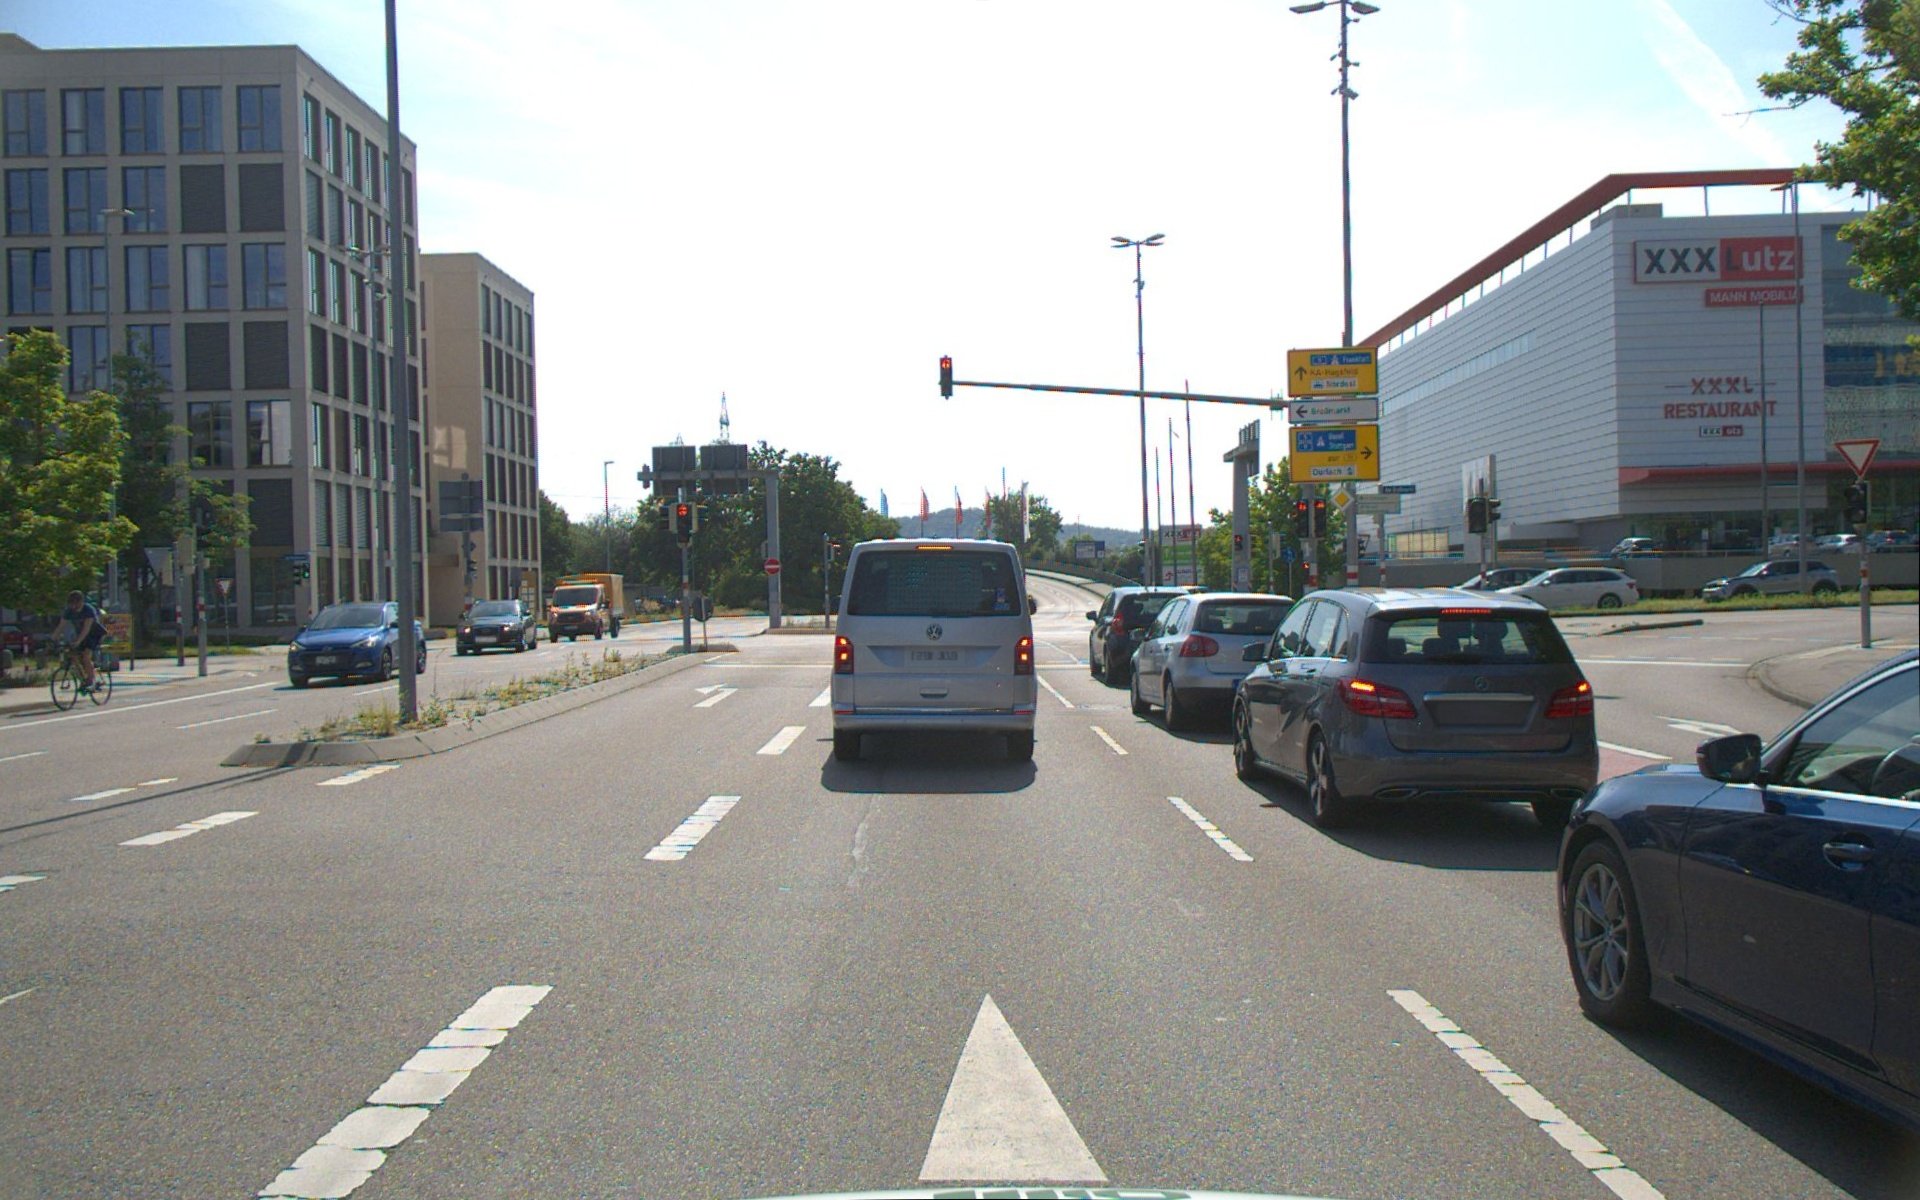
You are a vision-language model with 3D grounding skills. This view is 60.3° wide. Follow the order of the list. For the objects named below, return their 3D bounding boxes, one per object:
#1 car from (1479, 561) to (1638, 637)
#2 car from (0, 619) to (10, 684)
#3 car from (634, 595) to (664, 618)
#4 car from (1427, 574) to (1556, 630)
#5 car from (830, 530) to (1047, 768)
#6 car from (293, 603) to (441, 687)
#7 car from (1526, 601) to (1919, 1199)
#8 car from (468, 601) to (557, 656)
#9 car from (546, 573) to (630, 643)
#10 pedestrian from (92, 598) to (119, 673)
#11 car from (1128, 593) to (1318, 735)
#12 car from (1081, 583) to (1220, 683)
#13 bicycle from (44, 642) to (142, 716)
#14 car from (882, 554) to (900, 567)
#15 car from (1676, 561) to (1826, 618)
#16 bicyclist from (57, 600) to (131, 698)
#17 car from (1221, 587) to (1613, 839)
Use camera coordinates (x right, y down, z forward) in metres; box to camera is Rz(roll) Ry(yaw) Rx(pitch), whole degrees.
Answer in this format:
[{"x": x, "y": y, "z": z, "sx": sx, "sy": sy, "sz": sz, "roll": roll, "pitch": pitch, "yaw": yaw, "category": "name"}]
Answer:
[{"x": 18.577, "y": -0.039, "z": 51.444, "sx": 4.310, "sy": 2.029, "sz": 1.481, "roll": -4, "pitch": 0, "yaw": 3, "category": "car"}, {"x": -22.047, "y": 1.252, "z": 34.382, "sx": 3.521, "sy": 1.381, "sz": 1.640, "roll": -5, "pitch": 1, "yaw": 0, "category": "car"}, {"x": -27.867, "y": 0.547, "z": 148.385, "sx": 1.953, "sy": 2.049, "sz": 3.999, "roll": 0, "pitch": 0, "yaw": -1, "category": "car"}, {"x": 17.483, "y": 0.062, "z": 54.510, "sx": 3.694, "sy": 1.545, "sz": 1.481, "roll": -4, "pitch": 0, "yaw": 3, "category": "car"}, {"x": -0.214, "y": 0.402, "z": 16.081, "sx": 1.846, "sy": 2.025, "sz": 3.999, "roll": 0, "pitch": 0, "yaw": -1, "category": "car"}, {"x": -11.444, "y": 0.830, "z": 32.168, "sx": 1.648, "sy": 1.381, "sz": 3.839, "roll": -2, "pitch": 1, "yaw": -3, "category": "car"}, {"x": 3.163, "y": 0.764, "z": 4.398, "sx": 1.711, "sy": 1.484, "sz": 4.475, "roll": 0, "pitch": 0, "yaw": -1, "category": "car"}, {"x": -12.832, "y": 0.789, "z": 47.625, "sx": 1.545, "sy": 1.434, "sz": 4.376, "roll": -2, "pitch": 0, "yaw": -3, "category": "car"}, {"x": -15.004, "y": 0.301, "z": 67.085, "sx": 2.358, "sy": 2.605, "sz": 6.888, "roll": -2, "pitch": 0, "yaw": -5, "category": "car"}, {"x": -23.811, "y": 0.980, "z": 46.103, "sx": 0.569, "sy": 2.049, "sz": 0.554, "roll": -2, "pitch": 0, "yaw": -34, "category": "pedestrian"}, {"x": 2.963, "y": 0.667, "z": 19.318, "sx": 1.546, "sy": 1.483, "sz": 3.784, "roll": 0, "pitch": 0, "yaw": -1, "category": "car"}, {"x": 3.126, "y": 0.507, "z": 27.857, "sx": 1.799, "sy": 1.552, "sz": 3.999, "roll": 0, "pitch": 0, "yaw": -1, "category": "car"}, {"x": -14.004, "y": 1.262, "z": 26.775, "sx": 0.573, "sy": 1.069, "sz": 1.876, "roll": -3, "pitch": 0, "yaw": -1, "category": "bicycle"}, {"x": -10.900, "y": -6.246, "z": 261.684, "sx": 1.961, "sy": 2.049, "sz": 3.983, "roll": 0, "pitch": 0, "yaw": -16, "category": "car"}, {"x": 25.719, "y": -0.350, "z": 53.853, "sx": 4.046, "sy": 1.545, "sz": 1.481, "roll": -4, "pitch": 0, "yaw": 3, "category": "car"}, {"x": -13.996, "y": 0.775, "z": 26.752, "sx": 0.617, "sy": 1.527, "sz": 1.028, "roll": -2, "pitch": 0, "yaw": -1, "category": "bicyclist"}, {"x": 3.150, "y": 0.683, "z": 12.257, "sx": 1.711, "sy": 1.543, "sz": 4.077, "roll": 0, "pitch": 0, "yaw": -1, "category": "car"}]
